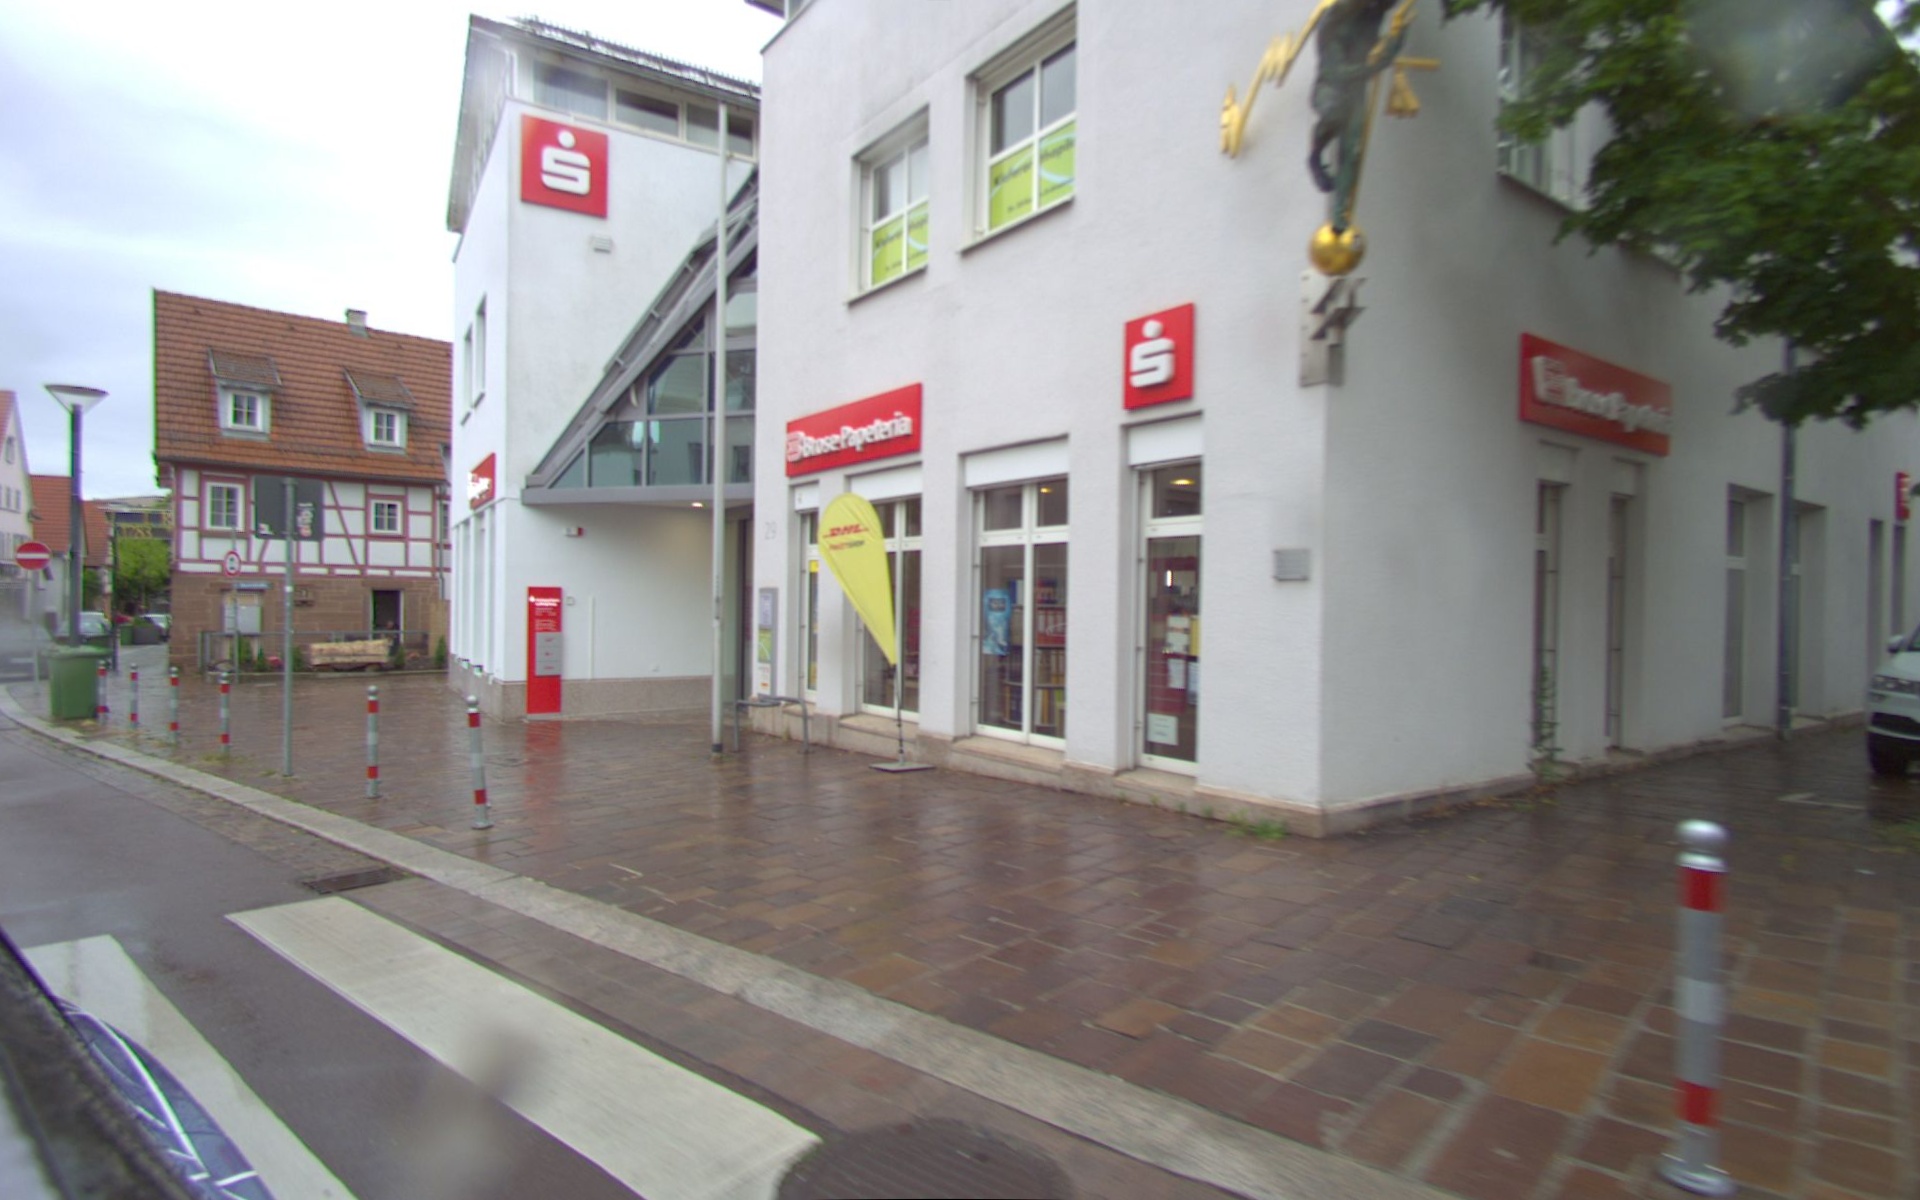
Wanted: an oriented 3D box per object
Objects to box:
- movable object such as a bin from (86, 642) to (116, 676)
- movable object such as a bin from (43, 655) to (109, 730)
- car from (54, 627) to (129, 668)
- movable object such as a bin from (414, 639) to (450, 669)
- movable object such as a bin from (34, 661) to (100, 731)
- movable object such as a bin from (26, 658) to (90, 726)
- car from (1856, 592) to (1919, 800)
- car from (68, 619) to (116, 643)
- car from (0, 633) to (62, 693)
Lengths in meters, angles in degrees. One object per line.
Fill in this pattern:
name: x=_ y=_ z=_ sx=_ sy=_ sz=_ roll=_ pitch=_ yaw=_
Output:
movable object such as a bin: x=-26.944 y=1.837 z=31.749 sx=0.530 sy=1.030 sz=0.604 roll=-1 pitch=-3 yaw=41
movable object such as a bin: x=-13.767 y=1.421 z=15.759 sx=0.644 sy=1.085 sz=0.688 roll=-1 pitch=0 yaw=41
car: x=-33.836 y=1.817 z=39.517 sx=1.778 sy=1.453 sz=4.010 roll=0 pitch=-1 yaw=-35
movable object such as a bin: x=-15.716 y=1.603 z=30.102 sx=0.755 sy=0.863 sz=0.700 roll=-1 pitch=-3 yaw=42
movable object such as a bin: x=-14.349 y=1.530 z=16.261 sx=0.644 sy=1.059 sz=0.688 roll=-1 pitch=-3 yaw=41
movable object such as a bin: x=-14.958 y=1.509 z=16.780 sx=0.644 sy=1.055 sz=0.688 roll=-1 pitch=-3 yaw=41
car: x=9.506 y=0.816 z=8.702 sx=4.053 sy=1.630 sz=1.861 roll=2 pitch=-3 yaw=-36
car: x=-55.475 y=1.964 z=64.736 sx=1.838 sy=1.472 sz=4.010 roll=2 pitch=-2 yaw=-34
car: x=-25.814 y=1.672 z=27.606 sx=1.781 sy=1.453 sz=4.003 roll=0 pitch=-1 yaw=-44
